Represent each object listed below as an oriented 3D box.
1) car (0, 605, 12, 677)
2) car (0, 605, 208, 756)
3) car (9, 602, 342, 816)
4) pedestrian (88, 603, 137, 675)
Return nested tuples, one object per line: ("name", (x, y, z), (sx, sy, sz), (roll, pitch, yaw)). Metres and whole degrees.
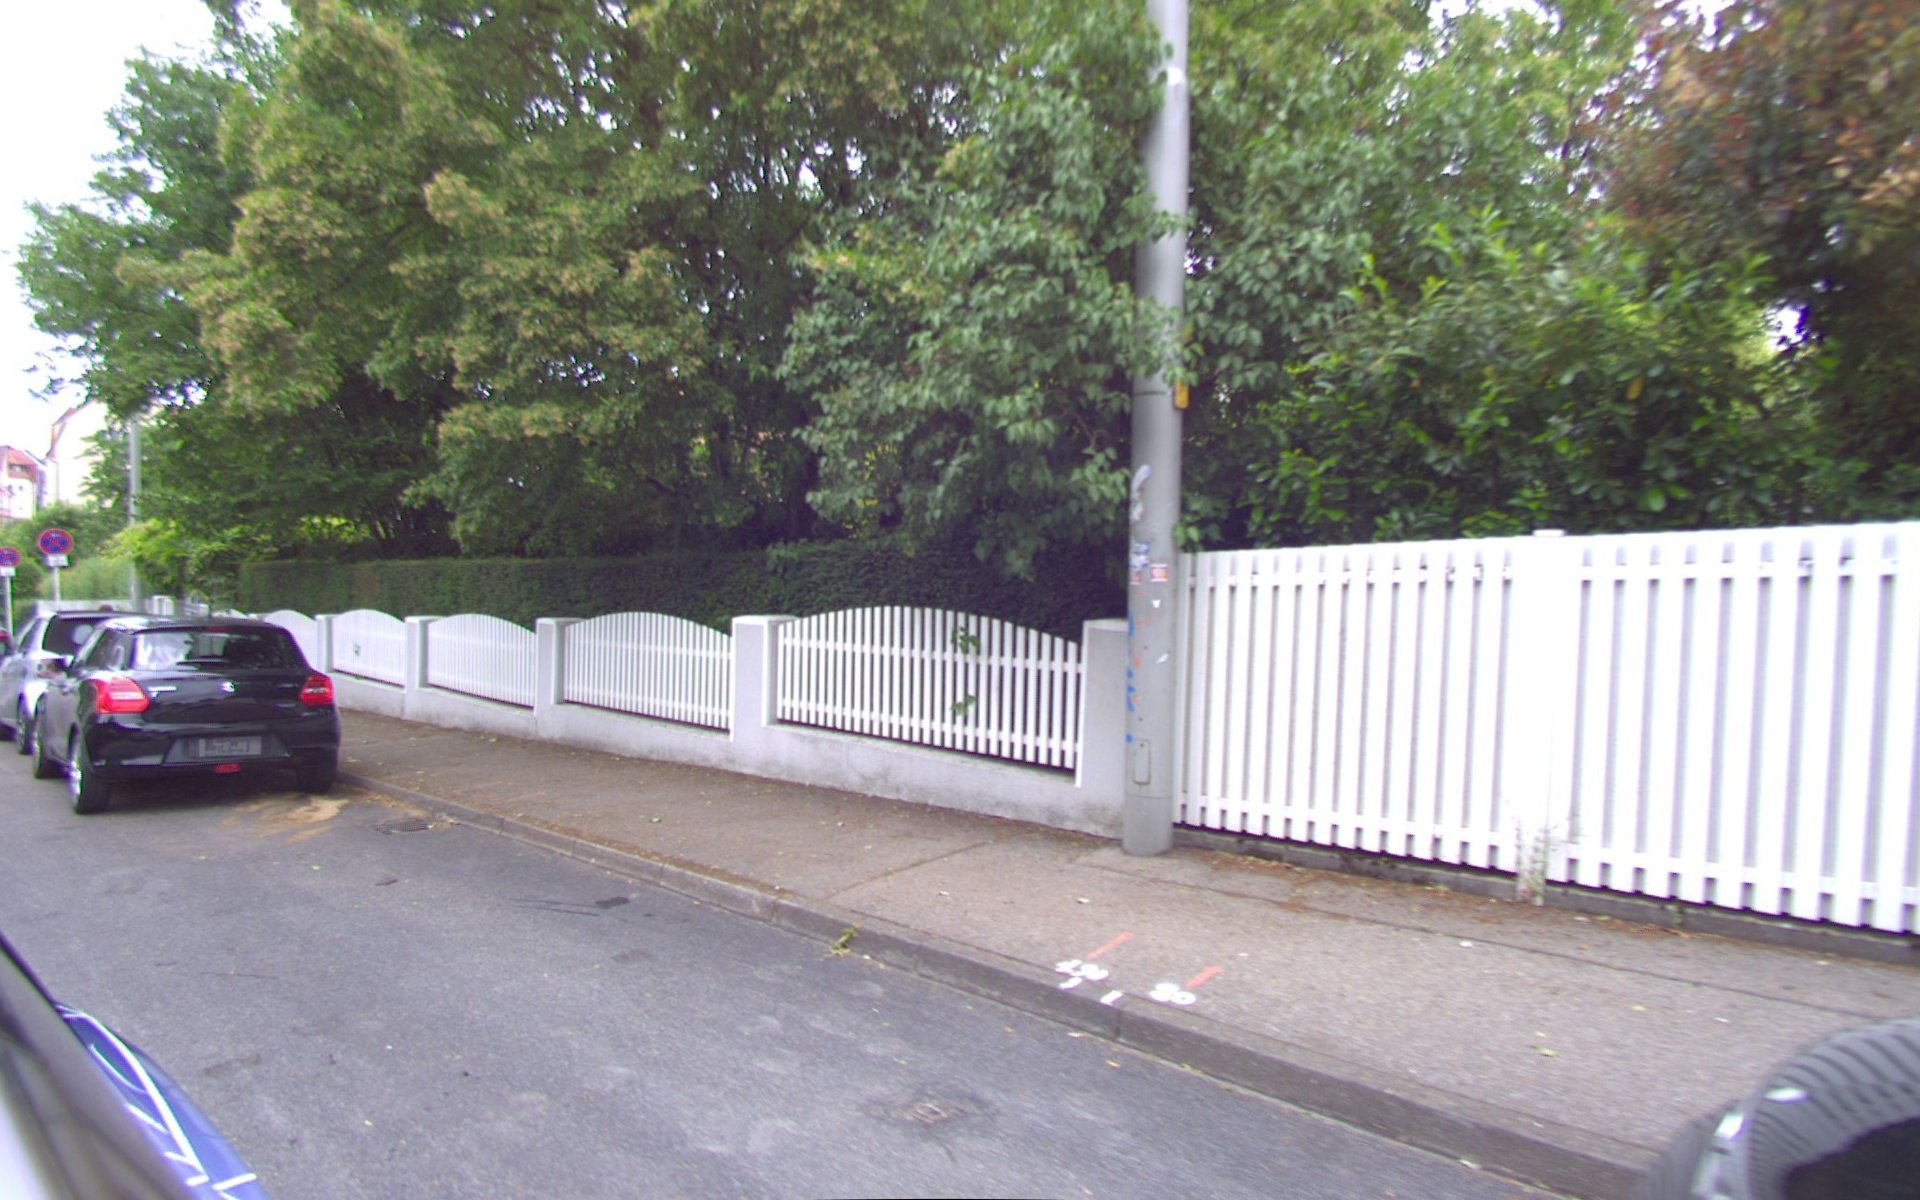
("car", (-23.961, 0.938, 23.856), (4.339, 1.635, 1.773), (-1, -2, 39))
("car", (-10.322, 0.868, 11.921), (2.958, 1.545, 1.606), (-1, -3, 38))
("car", (-7.075, 0.821, 8.984), (3.887, 1.492, 1.637), (-1, -3, 42))
("pedestrian", (-19.090, 0.865, 22.799), (0.797, 1.557, 0.602), (0, 4, 41))
